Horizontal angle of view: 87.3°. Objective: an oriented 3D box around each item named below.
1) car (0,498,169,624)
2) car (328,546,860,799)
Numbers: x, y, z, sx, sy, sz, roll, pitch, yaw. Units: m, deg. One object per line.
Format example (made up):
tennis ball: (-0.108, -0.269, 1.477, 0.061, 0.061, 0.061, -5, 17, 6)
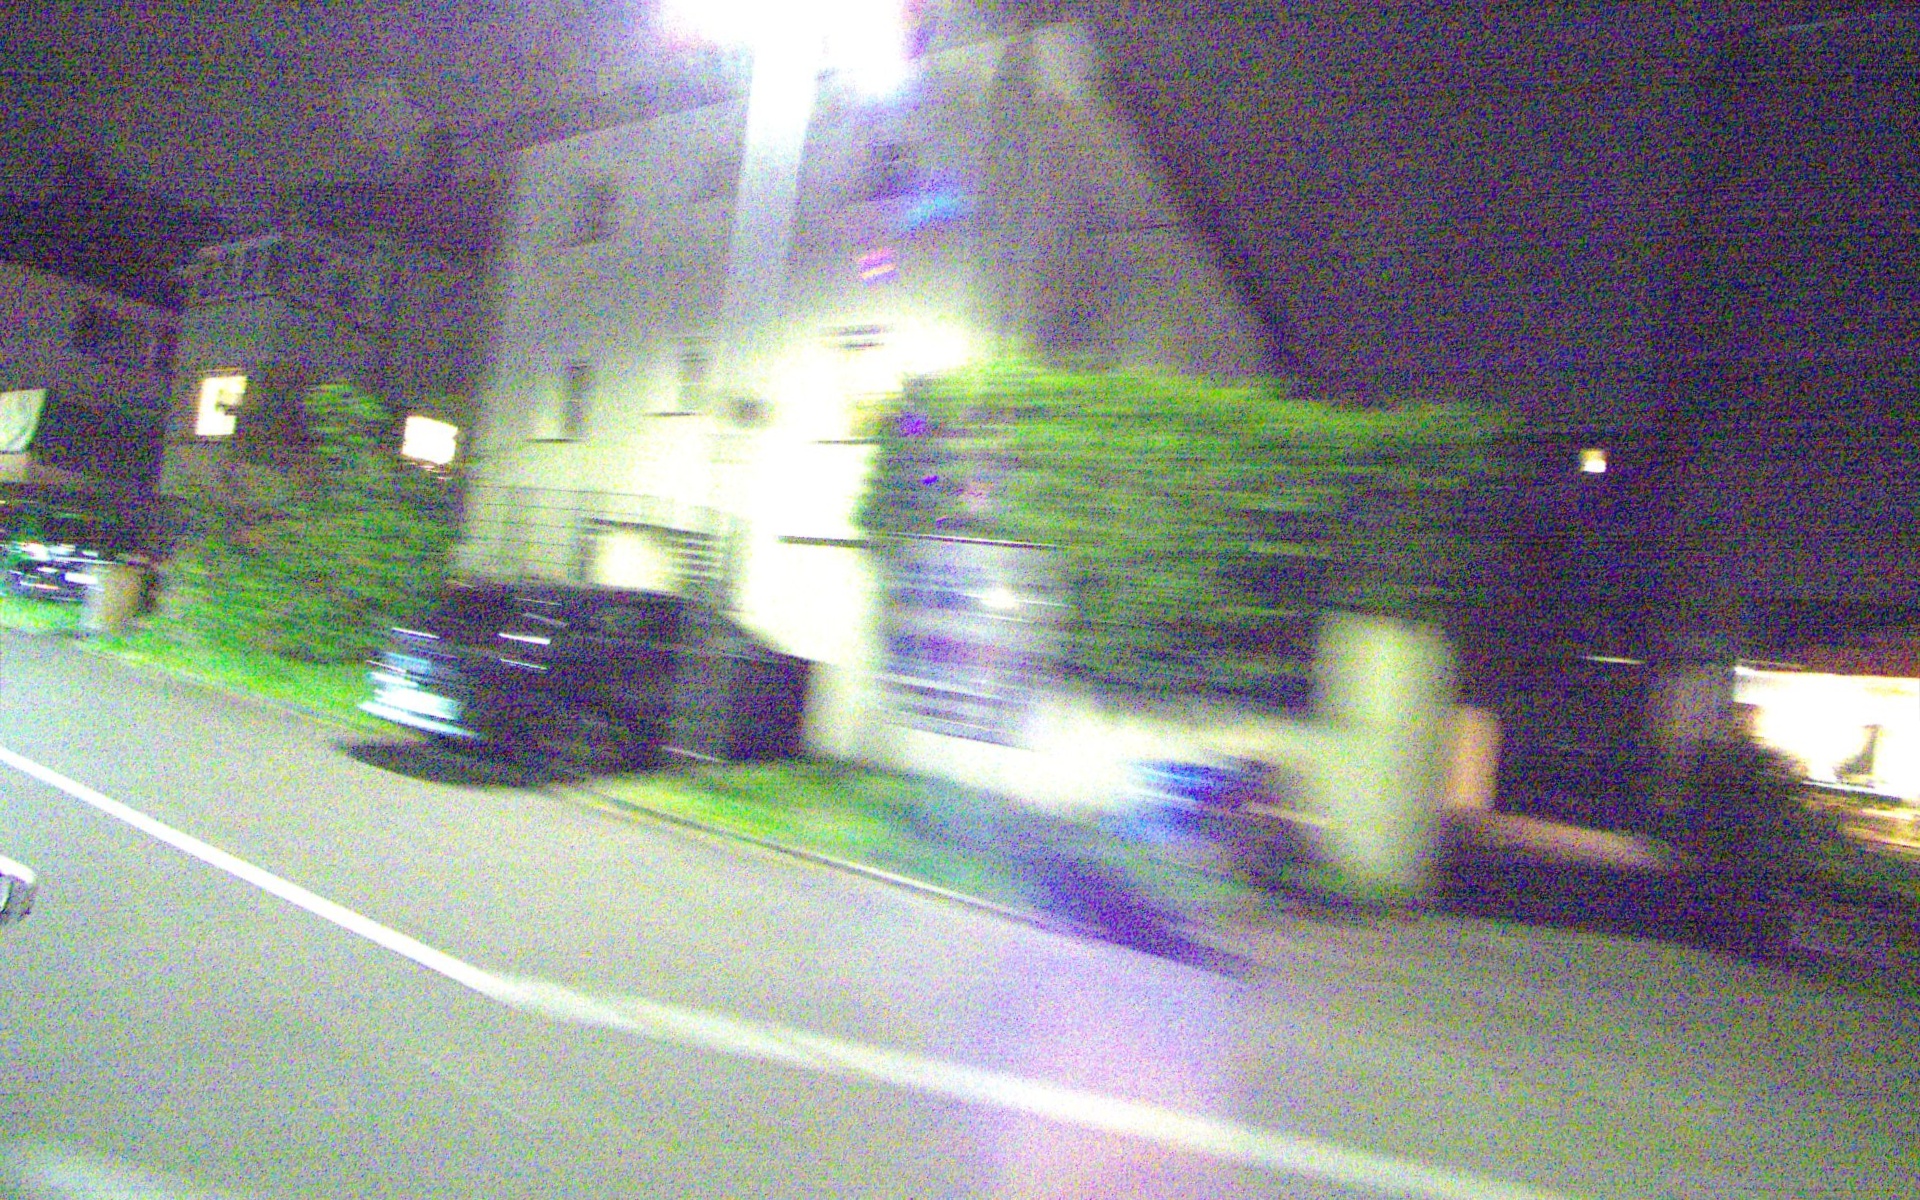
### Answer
car: (-14.068, -0.672, 15.463, 3.616, 1.578, 1.643, 7, -2, 30)
car: (-2.797, 0.602, 8.581, 1.802, 1.503, 3.911, 6, -1, 30)
